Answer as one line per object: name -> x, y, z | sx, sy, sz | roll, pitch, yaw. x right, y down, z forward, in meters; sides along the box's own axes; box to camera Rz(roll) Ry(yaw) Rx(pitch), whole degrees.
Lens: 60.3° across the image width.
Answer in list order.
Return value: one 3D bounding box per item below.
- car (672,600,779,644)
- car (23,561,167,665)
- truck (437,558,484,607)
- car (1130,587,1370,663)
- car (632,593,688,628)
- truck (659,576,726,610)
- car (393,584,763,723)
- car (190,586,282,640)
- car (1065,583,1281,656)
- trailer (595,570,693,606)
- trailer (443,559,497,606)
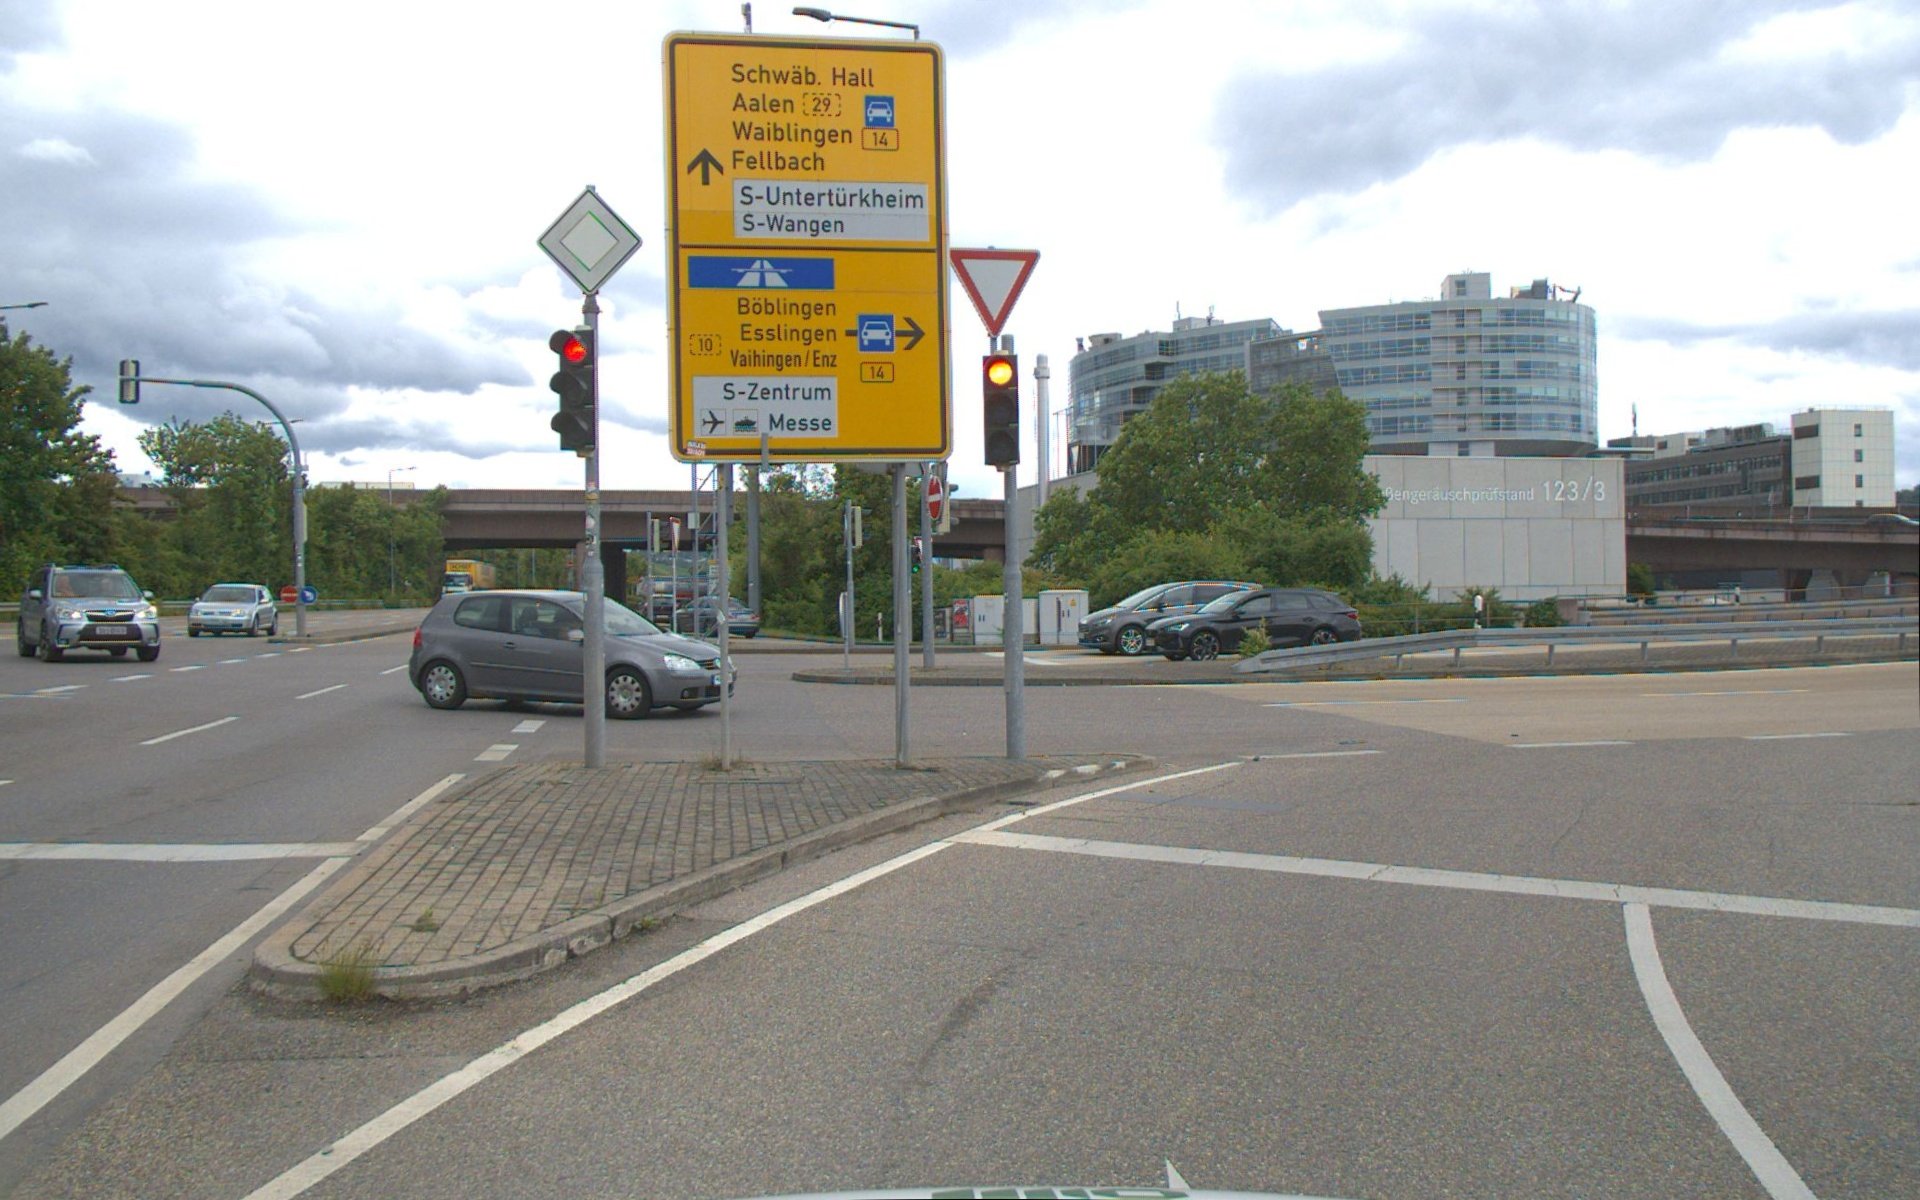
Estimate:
car -> -8.337, 0.803, 58.630 | 1.981, 1.467, 4.052 | 2, -2, -39
car -> -15.885, 0.192, 30.262 | 1.711, 1.767, 4.498 | -1, 1, -36
truck -> -45.063, -1.578, 149.325 | 2.817, 4.155, 6.477 | 2, 0, -7
car -> 5.998, 0.490, 34.370 | 4.527, 1.482, 1.949 | 0, 1, -14
car -> -13.535, 0.496, 74.436 | 1.962, 1.490, 4.089 | 1, -2, -17
truck -> -24.287, -0.656, 150.030 | 5.666, 2.669, 2.610 | 4, 0, -15
car -> -4.686, 0.596, 20.340 | 4.142, 1.487, 1.730 | 1, 1, 20
car -> -20.086, 0.331, 46.013 | 1.695, 1.425, 4.051 | 0, 1, -14
car -> 4.897, 0.439, 38.271 | 4.597, 1.599, 1.950 | 0, 1, -13
trailer -> -28.462, -1.090, 148.858 | 8.400, 2.669, 2.600 | 4, 0, -15
trailer -> -45.690, -1.629, 154.589 | 2.817, 4.155, 11.409 | 2, 0, -7
